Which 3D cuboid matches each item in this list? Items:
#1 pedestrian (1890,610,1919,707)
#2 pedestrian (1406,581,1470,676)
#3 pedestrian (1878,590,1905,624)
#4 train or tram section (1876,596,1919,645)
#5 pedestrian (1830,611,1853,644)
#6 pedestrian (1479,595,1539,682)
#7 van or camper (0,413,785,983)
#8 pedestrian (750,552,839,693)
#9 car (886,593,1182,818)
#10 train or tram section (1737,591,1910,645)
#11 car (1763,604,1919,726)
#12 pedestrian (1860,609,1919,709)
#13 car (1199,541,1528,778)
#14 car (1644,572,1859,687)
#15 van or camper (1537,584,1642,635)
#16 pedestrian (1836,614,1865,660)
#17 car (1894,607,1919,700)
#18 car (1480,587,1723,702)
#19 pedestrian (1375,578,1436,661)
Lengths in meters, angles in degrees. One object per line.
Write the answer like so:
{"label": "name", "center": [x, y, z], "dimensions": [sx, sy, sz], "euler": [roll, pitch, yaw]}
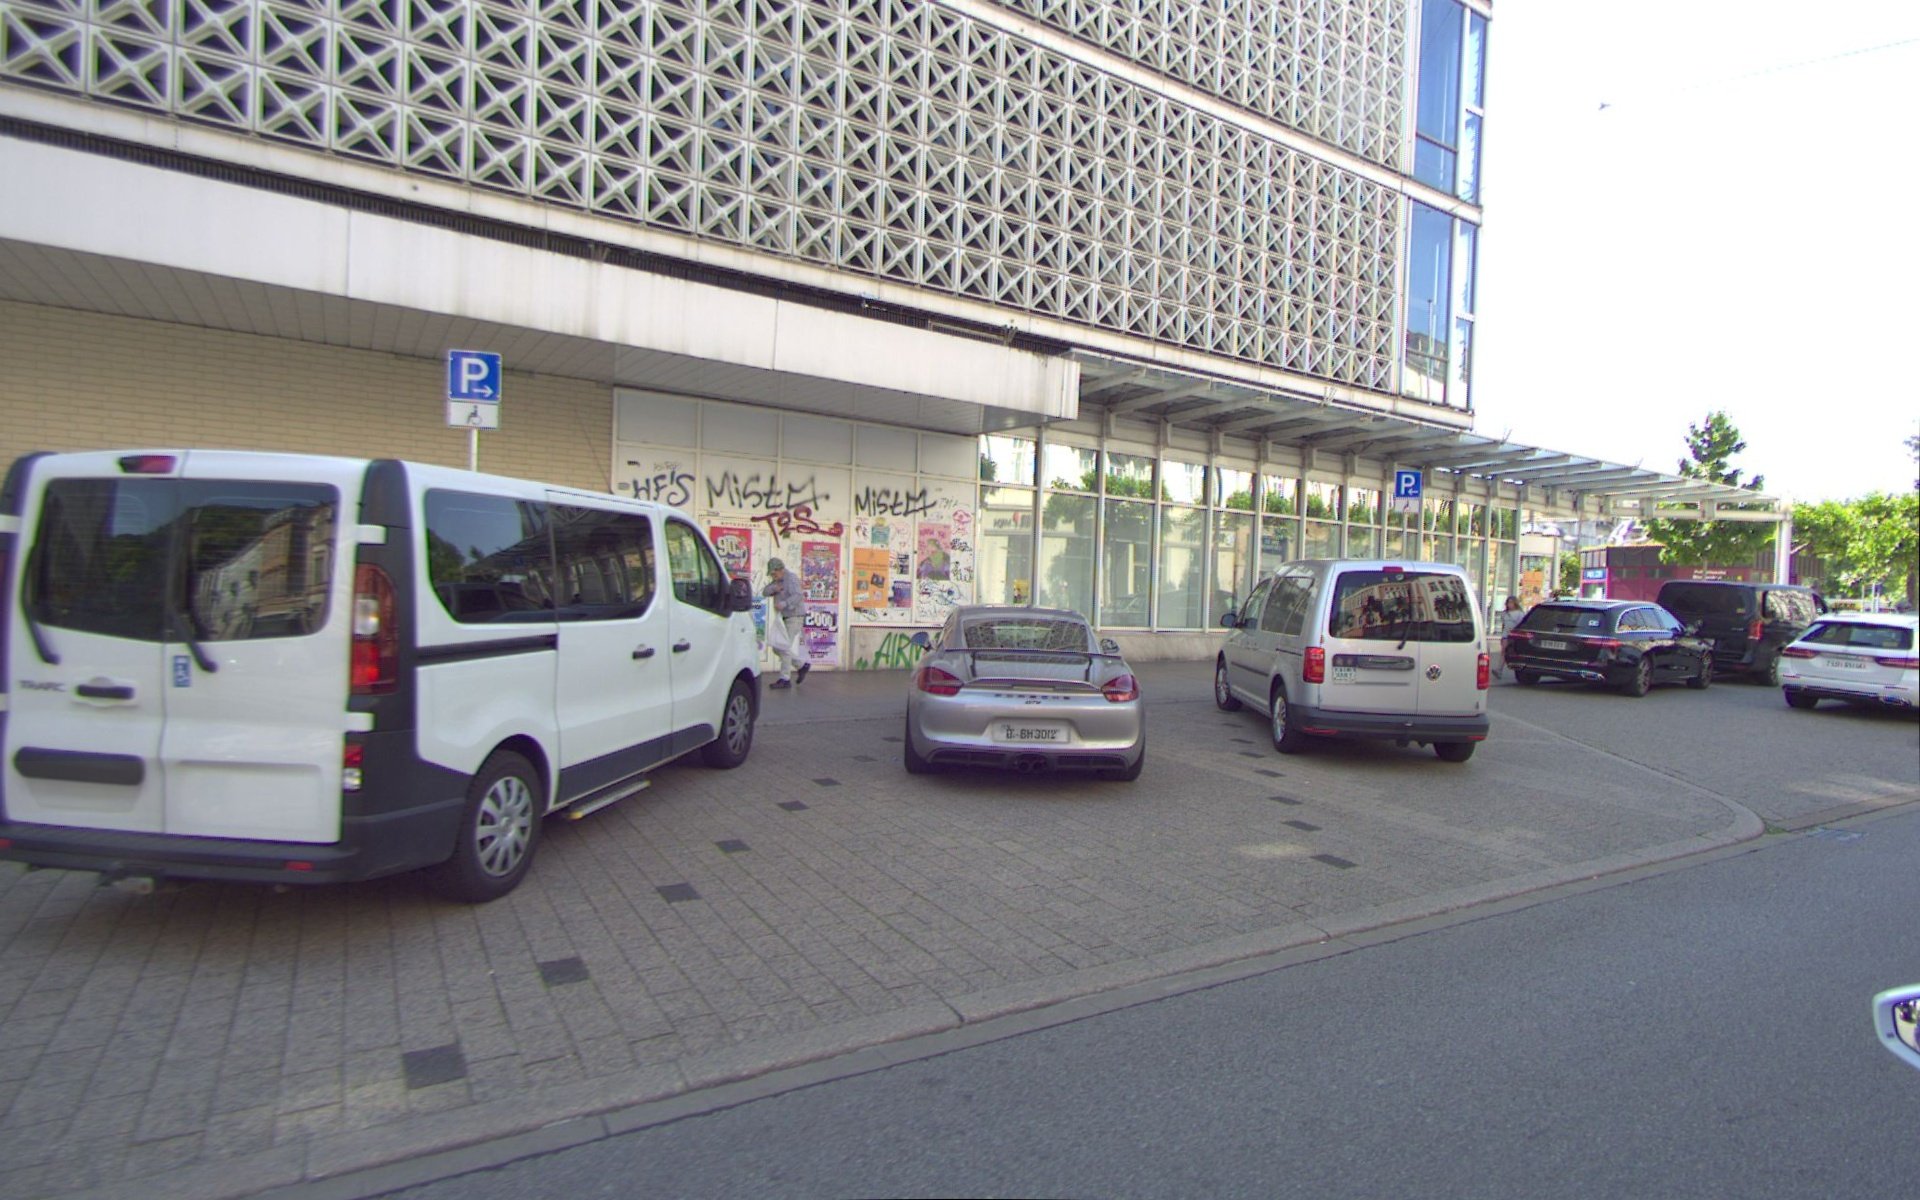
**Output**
{"label": "pedestrian", "center": [18.362, 1.117, 19.245], "dimensions": [0.528, 1.816, 0.533], "euler": [2, 1, 8]}
{"label": "pedestrian", "center": [8.819, 0.506, 18.541], "dimensions": [0.634, 1.683, 0.782], "euler": [1, 2, -34]}
{"label": "pedestrian", "center": [49.965, 0.381, 53.880], "dimensions": [0.788, 1.772, 0.606], "euler": [3, 1, 0]}
{"label": "train or tram section", "center": [80.238, 1.859, 77.870], "dimensions": [15.235, 3.726, 2.622], "euler": [2, 1, 4]}
{"label": "pedestrian", "center": [42.744, 1.323, 48.709], "dimensions": [0.598, 1.553, 0.574], "euler": [2, 2, -26]}
{"label": "pedestrian", "center": [9.661, 0.668, 17.666], "dimensions": [0.634, 1.456, 0.589], "euler": [3, 3, -34]}
{"label": "van or camper", "center": [-2.752, 0.266, 6.060], "dimensions": [1.959, 2.041, 4.662], "euler": [2, 2, 8]}
{"label": "pedestrian", "center": [-2.026, 0.257, 12.287], "dimensions": [0.855, 1.658, 0.584], "euler": [1, 2, -34]}
{"label": "car", "center": [0.491, 0.698, 8.910], "dimensions": [1.932, 1.304, 4.297], "euler": [3, 2, 0]}
{"label": "train or tram section", "center": [67.522, 1.352, 78.710], "dimensions": [10.781, 3.726, 2.622], "euler": [2, 1, 4]}
{"label": "car", "center": [14.344, 0.897, 15.318], "dimensions": [4.685, 1.543, 1.789], "euler": [1, 2, -32]}
{"label": "pedestrian", "center": [17.602, 1.096, 18.920], "dimensions": [0.679, 1.816, 0.620], "euler": [2, 1, 8]}
{"label": "car", "center": [3.897, 0.409, 10.647], "dimensions": [1.969, 1.935, 4.447], "euler": [2, 2, 5]}
{"label": "car", "center": [15.667, 0.554, 19.816], "dimensions": [4.633, 2.041, 1.822], "euler": [1, 1, -32]}
{"label": "van or camper", "center": [26.760, 0.422, 42.647], "dimensions": [4.973, 1.944, 1.861], "euler": [2, 0, -34]}
{"label": "pedestrian", "center": [33.818, 1.386, 38.129], "dimensions": [0.681, 1.700, 0.665], "euler": [1, 2, -40]}
{"label": "car", "center": [19.137, 1.003, 18.469], "dimensions": [4.659, 1.621, 1.750], "euler": [1, 1, -33]}
{"label": "car", "center": [10.895, 0.701, 16.959], "dimensions": [4.359, 1.632, 1.979], "euler": [2, 2, -36]}
{"label": "pedestrian", "center": [9.276, 0.396, 20.915], "dimensions": [1.094, 1.684, 0.593], "euler": [1, 1, -31]}
